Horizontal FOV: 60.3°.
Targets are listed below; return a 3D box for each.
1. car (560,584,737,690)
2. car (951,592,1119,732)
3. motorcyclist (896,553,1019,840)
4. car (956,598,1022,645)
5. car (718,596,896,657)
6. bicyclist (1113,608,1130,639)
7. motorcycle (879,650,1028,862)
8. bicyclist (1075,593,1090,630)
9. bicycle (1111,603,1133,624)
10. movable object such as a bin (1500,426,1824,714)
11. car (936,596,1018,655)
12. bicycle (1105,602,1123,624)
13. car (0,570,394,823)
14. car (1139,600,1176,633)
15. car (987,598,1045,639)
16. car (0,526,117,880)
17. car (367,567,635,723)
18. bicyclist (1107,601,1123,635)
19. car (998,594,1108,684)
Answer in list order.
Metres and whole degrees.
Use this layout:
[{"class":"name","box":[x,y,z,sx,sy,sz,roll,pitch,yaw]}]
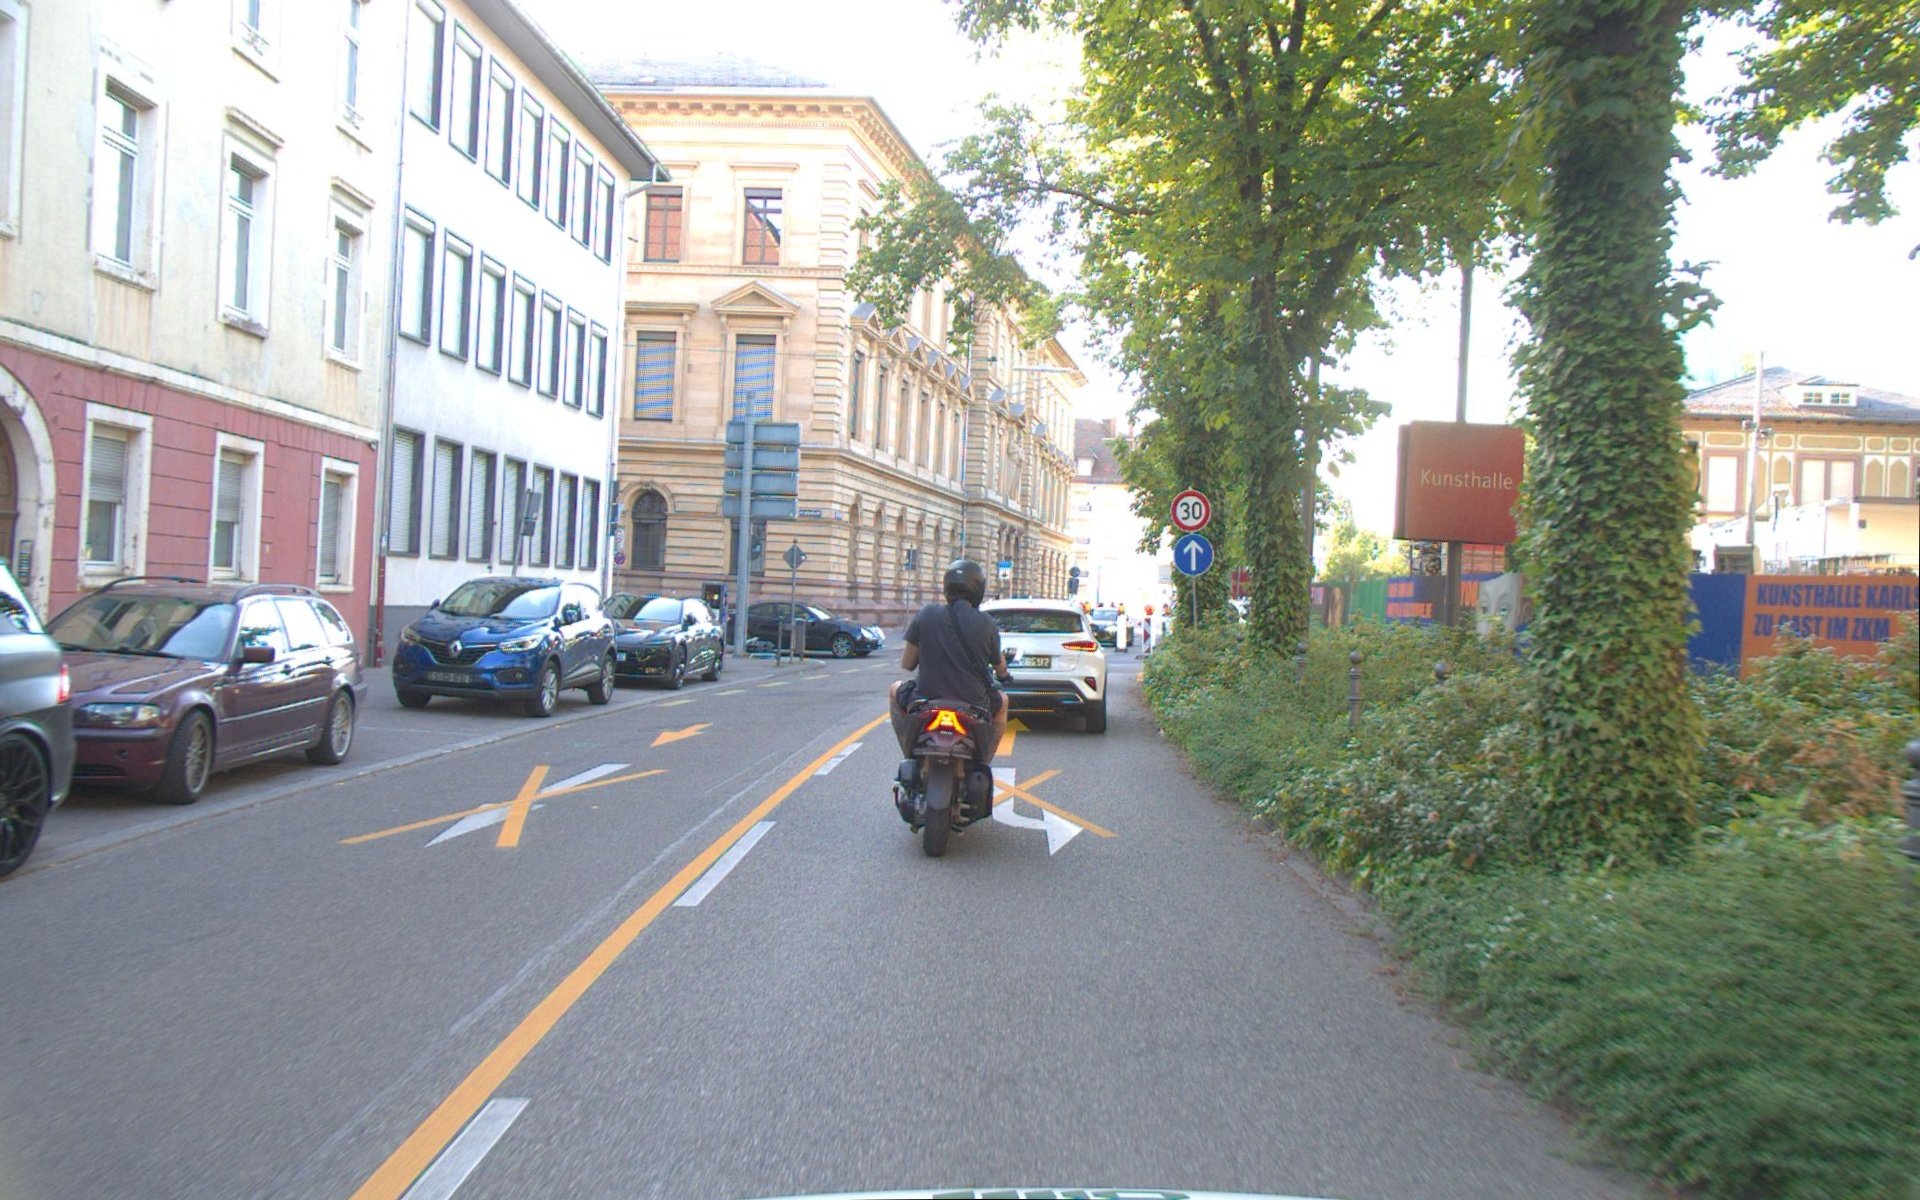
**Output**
[{"class":"car","box":[-5.138,0.570,27.969,1.786,1.529,4.762,4,0,3]},{"class":"car","box":[0.906,0.668,20.075,1.812,1.506,4.059,1,0,2]},{"class":"motorcyclist","box":[-0.020,0.576,10.216,0.644,1.679,0.650,3,0,-1]},{"class":"car","box":[1.100,0.768,60.901,1.951,1.594,4.292,2,0,7]},{"class":"car","box":[-3.947,0.666,42.859,4.221,1.414,1.777,1,0,12]},{"class":"bicyclist","box":[8.398,1.207,85.993,0.615,1.581,0.732,1,0,23]},{"class":"motorcycle","box":[-0.042,0.903,10.165,0.780,1.084,1.725,3,0,-1]},{"class":"bicyclist","box":[5.736,0.532,77.347,0.554,1.696,0.835,1,0,9]},{"class":"bicycle","box":[8.408,0.700,85.871,0.522,1.053,2.035,1,0,22]},{"class":"movable object such as a bin","box":[12.765,-0.508,31.011,3.237,4.618,7.910,2,0,5]},{"class":"car","box":[0.493,0.635,43.691,1.698,1.446,4.432,-1,0,7]},{"class":"bicycle","box":[7.637,0.654,81.914,0.522,1.053,1.908,1,0,17]},{"class":"car","box":[-5.794,0.574,12.309,1.619,1.506,4.427,2,0,-1]},{"class":"car","box":[11.034,0.889,92.356,1.951,1.724,4.402,2,0,7]},{"class":"car","box":[2.320,0.744,66.963,1.951,1.555,4.187,2,0,7]},{"class":"car","box":[-5.557,0.474,6.632,1.883,1.709,4.784,2,0,-1]},{"class":"car","box":[-5.594,0.499,20.786,1.893,1.696,4.349,2,0,3]},{"class":"bicyclist","box":[7.670,0.899,81.841,0.615,1.642,0.870,1,0,17]},{"class":"car","box":[1.831,0.698,31.418,1.801,1.489,4.060,4,0,6]}]
